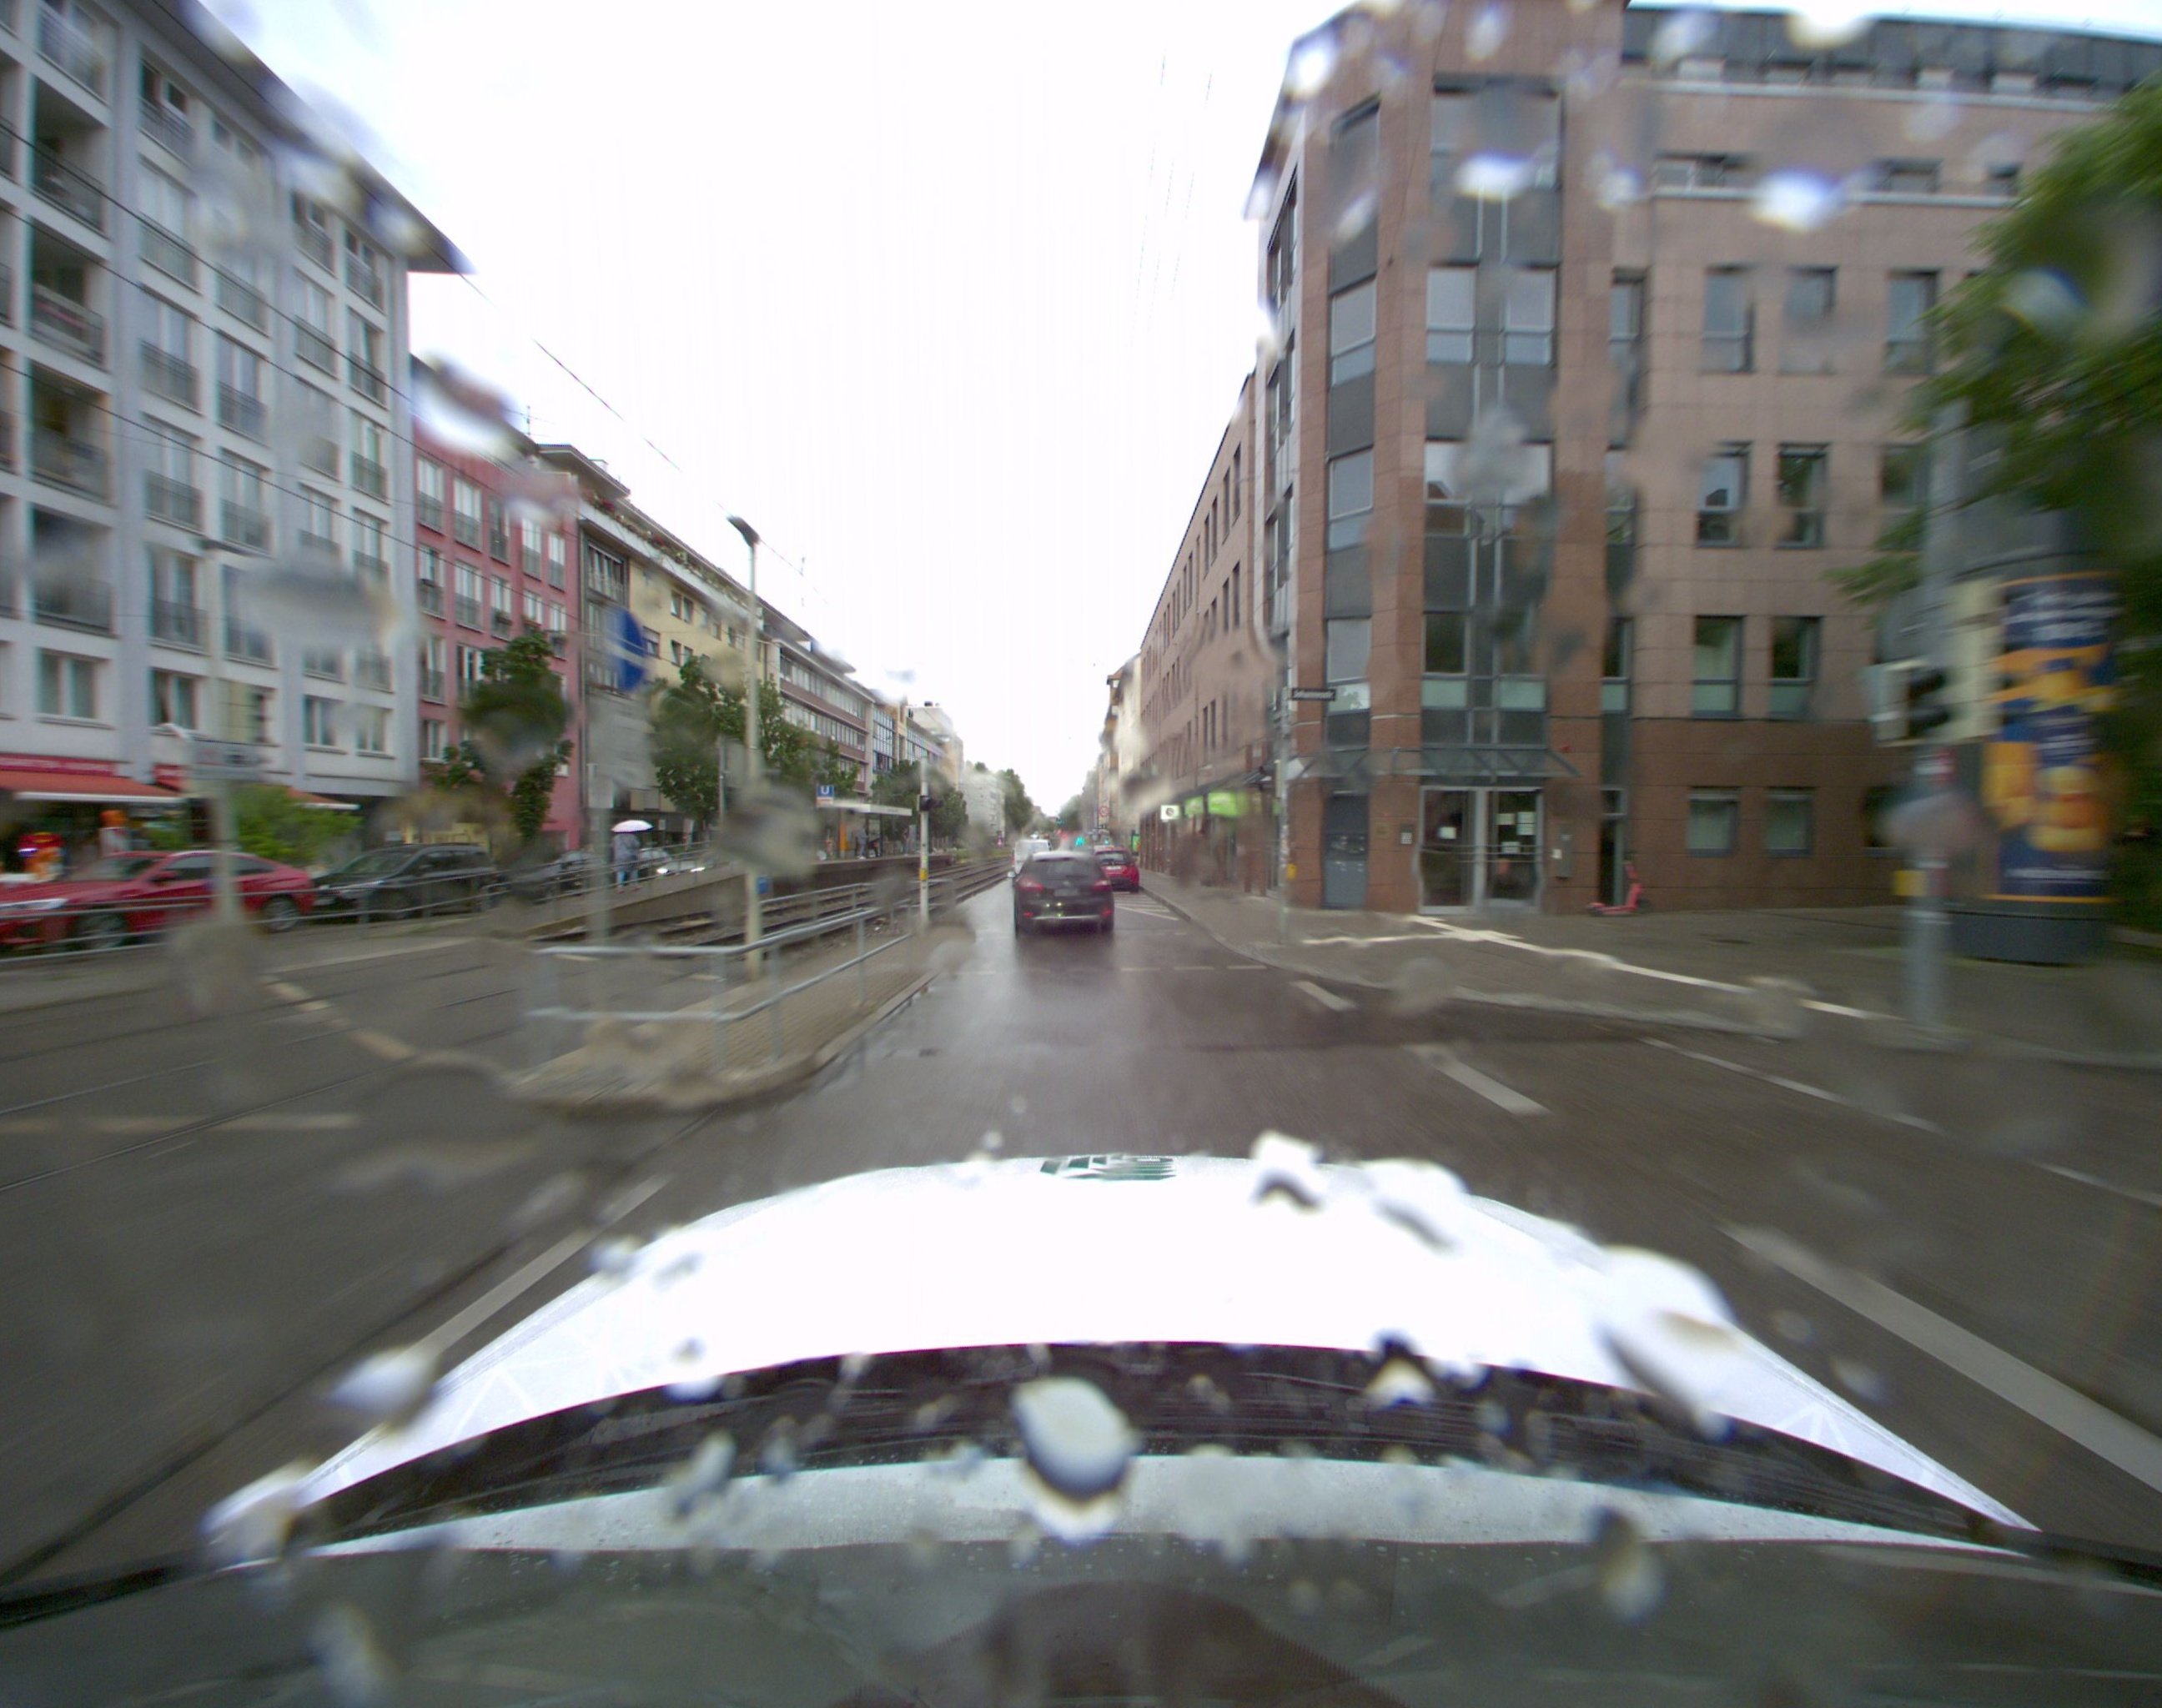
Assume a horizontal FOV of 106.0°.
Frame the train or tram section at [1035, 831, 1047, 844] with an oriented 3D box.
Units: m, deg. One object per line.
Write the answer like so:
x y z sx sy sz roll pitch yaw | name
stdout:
-11.989 -4.935 244.804 3.506 3.777 11.317 -1 0 -3 | train or tram section

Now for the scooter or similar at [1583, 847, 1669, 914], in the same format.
10.209 0.488 15.274 1.369 1.227 0.325 -1 0 1 | scooter or similar

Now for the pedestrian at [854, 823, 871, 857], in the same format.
-11.274 -0.711 42.005 0.654 1.711 0.849 -1 0 -3 | pedestrian

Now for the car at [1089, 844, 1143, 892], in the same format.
1.158 0.466 28.512 1.693 1.479 3.867 -3 0 0 | car

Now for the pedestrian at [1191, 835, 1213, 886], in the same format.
4.018 0.197 26.997 0.600 1.659 0.625 -1 0 -1 | pedestrian

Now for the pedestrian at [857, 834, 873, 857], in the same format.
-11.740 -0.473 44.302 0.691 1.249 0.883 -1 0 -3 | pedestrian

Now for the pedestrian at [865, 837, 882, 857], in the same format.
-11.816 -0.419 46.449 0.892 1.123 0.846 -1 0 -12 | pedestrian

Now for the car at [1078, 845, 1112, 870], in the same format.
0.835 0.208 51.105 1.770 1.468 4.604 -1 1 -3 | car

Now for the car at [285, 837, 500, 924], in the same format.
-16.502 0.562 19.864 1.703 1.858 4.316 -1 0 -3 | car

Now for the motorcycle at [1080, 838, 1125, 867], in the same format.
1.089 -0.064 41.179 2.067 1.407 0.802 -1 0 17 | motorcycle

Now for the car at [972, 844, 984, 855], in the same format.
-18.509 -0.775 146.070 1.903 1.864 4.567 -1 0 -4 | car

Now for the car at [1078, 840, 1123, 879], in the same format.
0.776 0.200 33.975 1.693 1.462 3.866 -3 0 -1 | car

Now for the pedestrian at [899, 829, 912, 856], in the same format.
-11.921 -0.759 55.316 0.654 1.801 0.849 -1 0 -3 | pedestrian

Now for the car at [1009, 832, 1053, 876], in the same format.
-2.352 -0.003 37.536 1.903 1.864 4.566 -1 0 -5 | car

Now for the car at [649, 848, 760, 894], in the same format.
-13.961 0.564 30.557 1.801 1.578 5.020 -1 1 0 | car

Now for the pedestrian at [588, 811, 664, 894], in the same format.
-11.453 -0.044 20.563 1.113 2.013 1.382 -1 0 -1 | pedestrian

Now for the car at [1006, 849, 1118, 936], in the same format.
-0.333 0.659 15.672 1.901 1.462 3.444 -1 0 -1 | car

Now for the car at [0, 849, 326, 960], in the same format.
-16.482 0.748 14.535 1.720 1.611 4.553 -1 1 0 | car

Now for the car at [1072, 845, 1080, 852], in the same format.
-1.296 -1.296 199.754 1.900 1.633 4.573 -1 0 0 | car

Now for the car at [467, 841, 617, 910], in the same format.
-16.121 0.574 24.682 1.798 1.858 4.375 -1 0 -3 | car

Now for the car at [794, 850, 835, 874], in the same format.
-16.935 0.508 51.927 1.565 1.436 3.731 -1 0 -4 | car

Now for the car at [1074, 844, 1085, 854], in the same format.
-0.268 -0.887 137.293 1.900 1.633 4.573 -1 0 0 | car

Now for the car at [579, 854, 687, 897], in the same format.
-16.549 0.734 30.349 1.837 1.436 4.313 -1 0 -4 | car

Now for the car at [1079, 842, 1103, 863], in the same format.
0.773 -0.125 65.844 1.802 1.631 5.167 -1 1 -1 | car
